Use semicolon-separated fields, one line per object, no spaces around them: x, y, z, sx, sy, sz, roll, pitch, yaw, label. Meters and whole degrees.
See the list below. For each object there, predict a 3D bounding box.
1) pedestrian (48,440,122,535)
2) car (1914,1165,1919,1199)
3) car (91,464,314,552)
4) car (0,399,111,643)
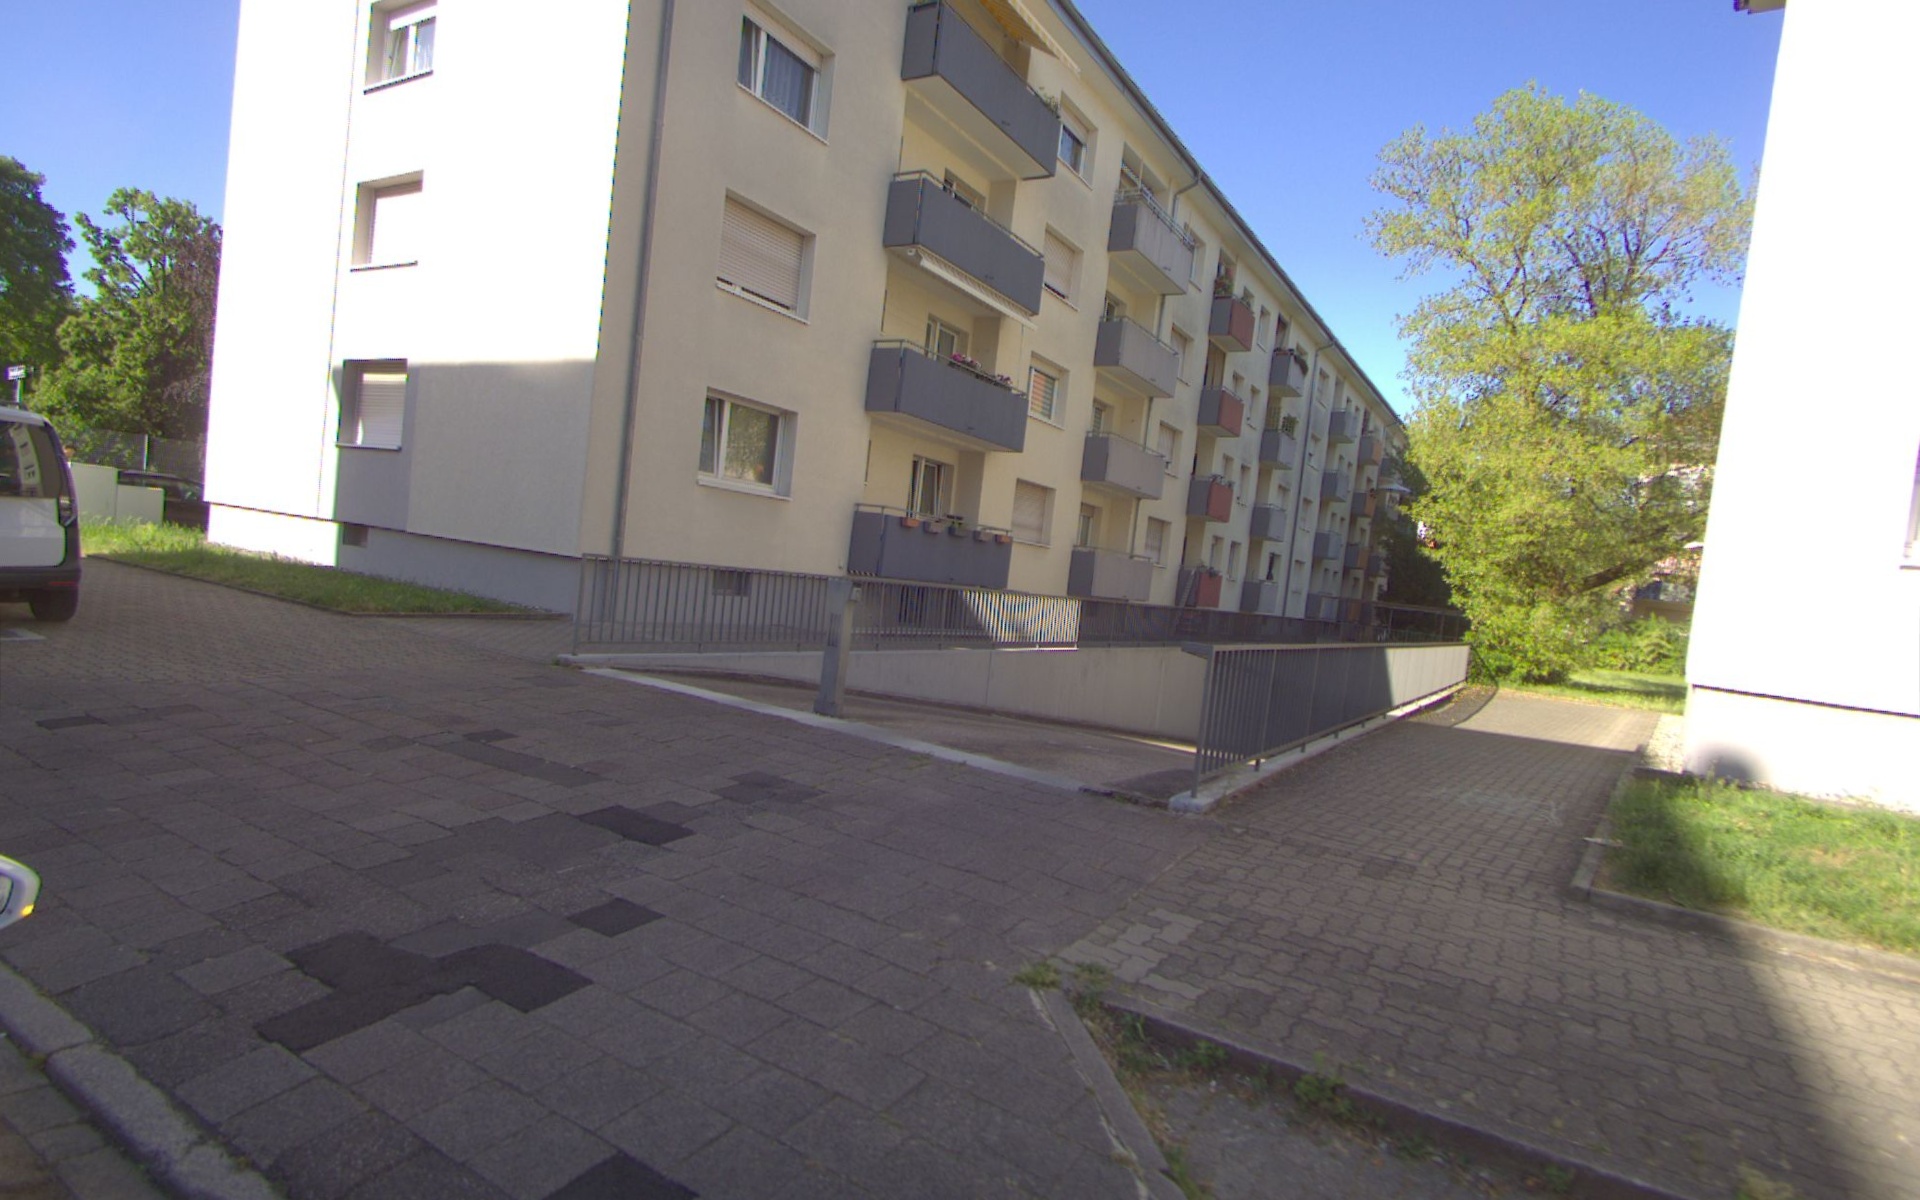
-17.840;-2.281;20.524;0.635;1.795;0.840;8;3;17;pedestrian
3.540;1.175;0.380;4.241;1.426;1.742;8;4;30;car
-18.690;-2.224;25.023;1.595;1.568;4.076;8;2;29;car
-9.327;-0.853;8.748;4.465;1.872;1.795;8;5;33;car
